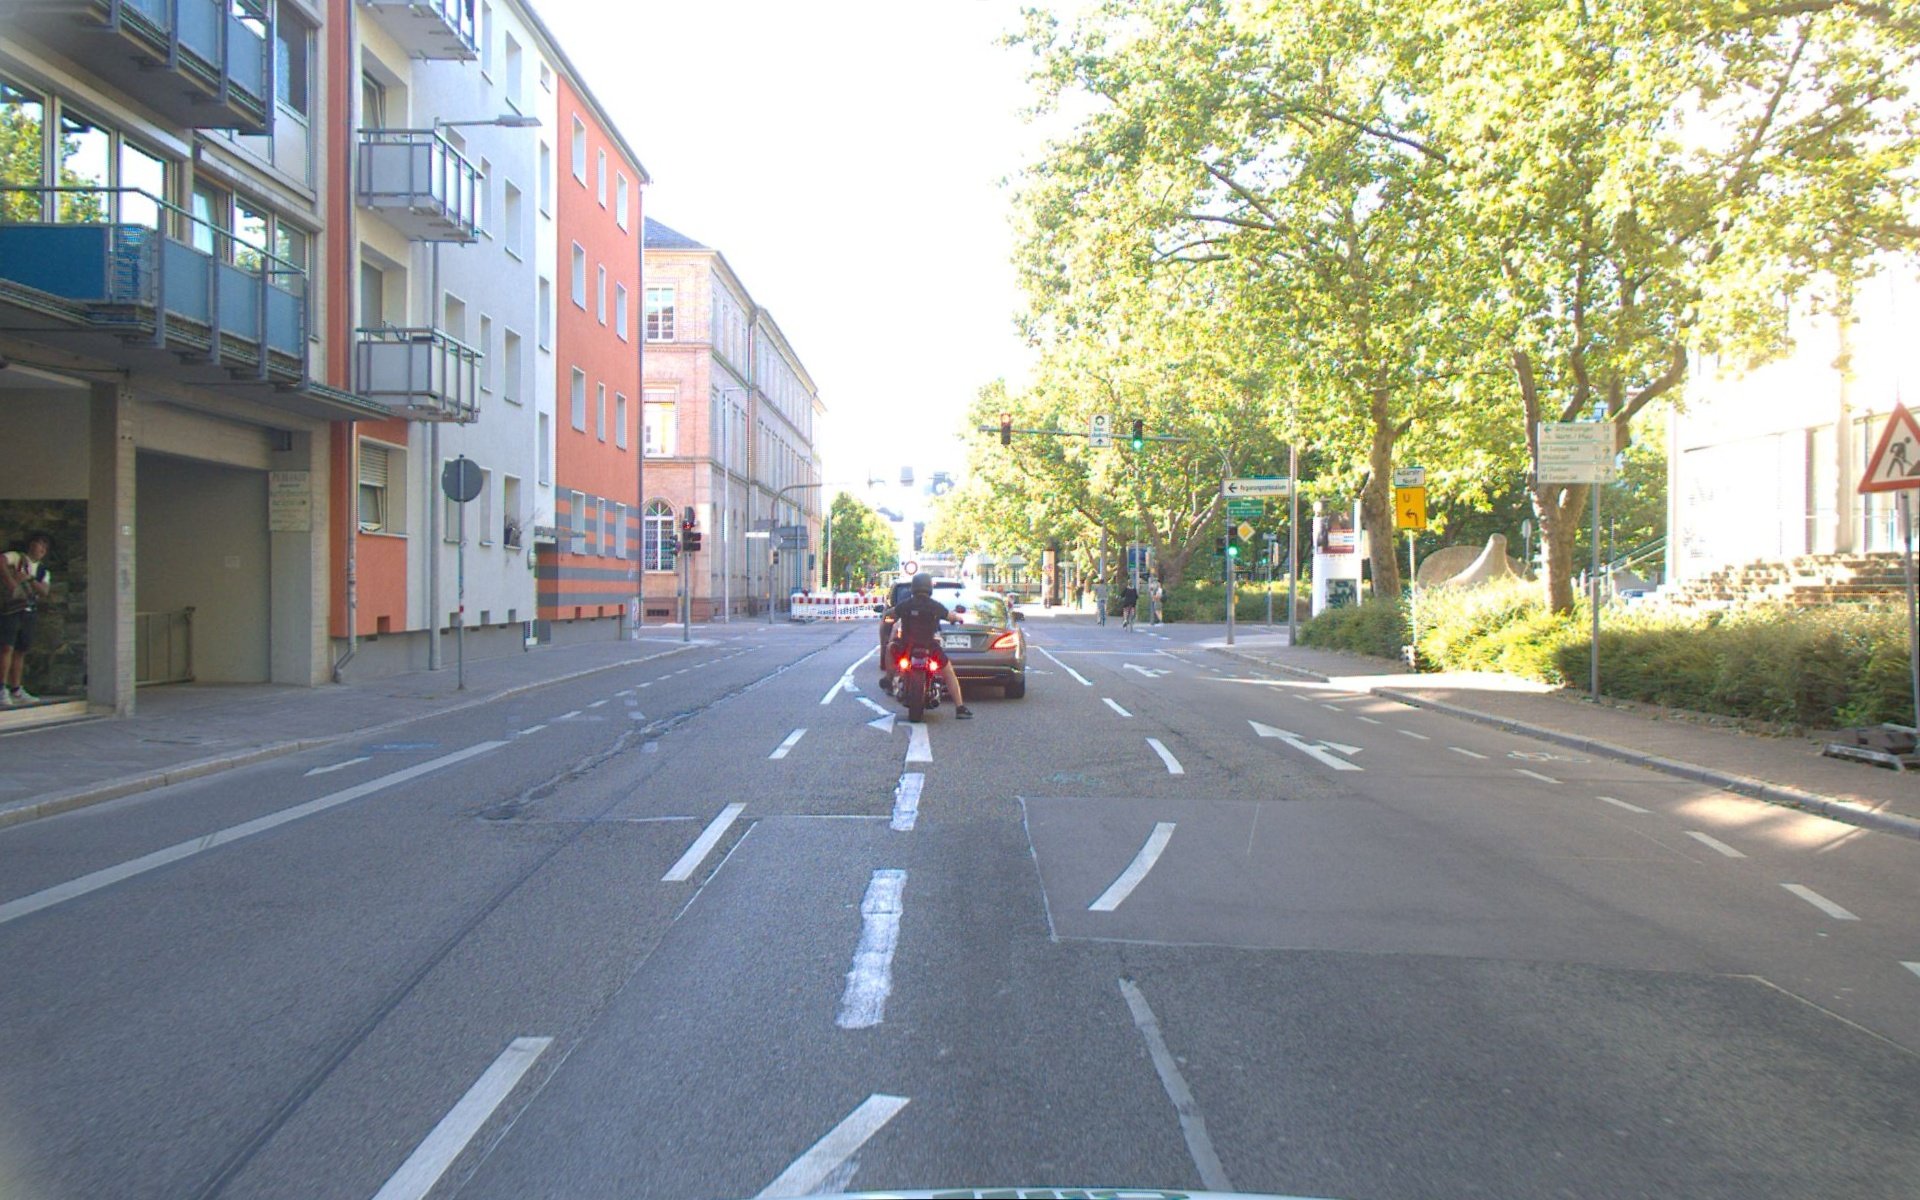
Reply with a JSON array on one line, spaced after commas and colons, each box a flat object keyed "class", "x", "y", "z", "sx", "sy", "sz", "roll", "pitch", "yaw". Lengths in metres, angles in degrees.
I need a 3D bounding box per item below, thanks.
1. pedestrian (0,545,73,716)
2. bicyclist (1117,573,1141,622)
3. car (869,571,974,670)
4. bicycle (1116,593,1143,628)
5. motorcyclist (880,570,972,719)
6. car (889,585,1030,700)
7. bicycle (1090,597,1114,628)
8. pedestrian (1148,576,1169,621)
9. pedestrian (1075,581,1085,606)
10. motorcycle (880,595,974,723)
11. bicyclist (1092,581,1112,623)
[{"class": "pedestrian", "x": -8.964, "y": 0.283, "z": 15.861, "sx": 0.503, "sy": 1.607, "sz": 0.756, "roll": 0, "pitch": 0, "yaw": -1}, {"class": "bicyclist", "x": 5.489, "y": -0.091, "z": 53.604, "sx": 0.643, "sy": 1.557, "sz": 0.852, "roll": 1, "pitch": 0, "yaw": -1}, {"class": "car", "x": -0.770, "y": 0.345, "z": 30.503, "sx": 1.599, "sy": 1.679, "sz": 3.845, "roll": 1, "pitch": 0, "yaw": -6}, {"class": "bicycle", "x": 5.480, "y": 0.320, "z": 53.605, "sx": 0.643, "sy": 1.089, "sz": 1.926, "roll": 1, "pitch": 0, "yaw": -1}, {"class": "motorcyclist", "x": -0.383, "y": 0.479, "z": 18.813, "sx": 0.991, "sy": 1.630, "sz": 1.406, "roll": 0, "pitch": 0, "yaw": -1}, {"class": "car", "x": -0.039, "y": 0.522, "z": 22.954, "sx": 1.791, "sy": 1.445, "sz": 3.814, "roll": 0, "pitch": 1, "yaw": -1}, {"class": "bicycle", "x": 5.357, "y": 0.463, "z": 62.586, "sx": 0.643, "sy": 1.131, "sz": 2.185, "roll": 1, "pitch": 0, "yaw": -1}, {"class": "pedestrian", "x": 8.076, "y": -0.051, "z": 67.141, "sx": 0.613, "sy": 1.805, "sz": 0.570, "roll": 1, "pitch": 0, "yaw": 36}, {"class": "pedestrian", "x": 7.586, "y": -0.404, "z": 104.537, "sx": 0.580, "sy": 1.606, "sz": 0.527, "roll": 1, "pitch": 0, "yaw": -1}, {"class": "motorcycle", "x": -0.369, "y": 0.623, "z": 18.817, "sx": 0.991, "sy": 1.329, "sz": 2.672, "roll": 0, "pitch": 1, "yaw": -1}, {"class": "bicyclist", "x": 5.365, "y": 0.085, "z": 62.621, "sx": 0.643, "sy": 1.557, "sz": 0.906, "roll": 1, "pitch": 0, "yaw": -1}]
